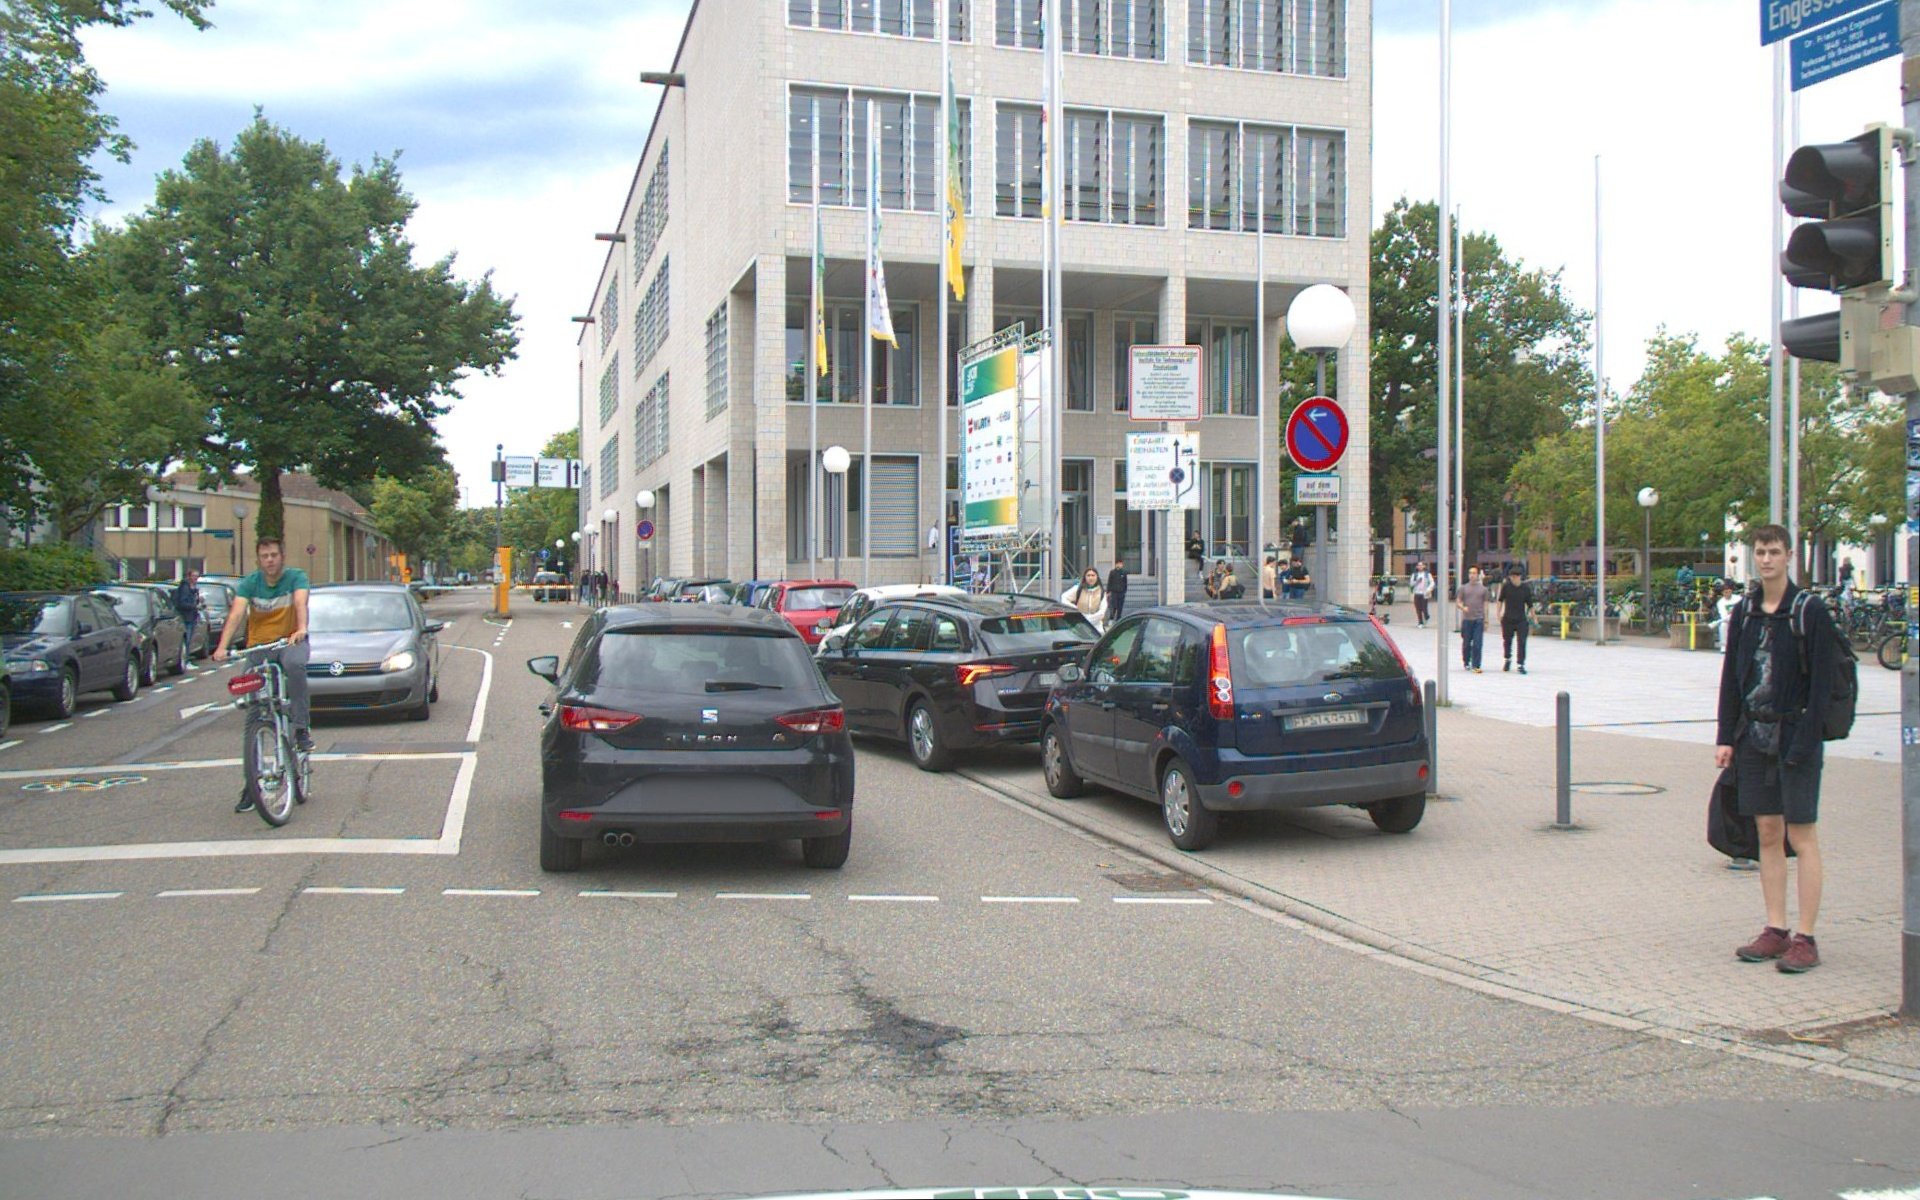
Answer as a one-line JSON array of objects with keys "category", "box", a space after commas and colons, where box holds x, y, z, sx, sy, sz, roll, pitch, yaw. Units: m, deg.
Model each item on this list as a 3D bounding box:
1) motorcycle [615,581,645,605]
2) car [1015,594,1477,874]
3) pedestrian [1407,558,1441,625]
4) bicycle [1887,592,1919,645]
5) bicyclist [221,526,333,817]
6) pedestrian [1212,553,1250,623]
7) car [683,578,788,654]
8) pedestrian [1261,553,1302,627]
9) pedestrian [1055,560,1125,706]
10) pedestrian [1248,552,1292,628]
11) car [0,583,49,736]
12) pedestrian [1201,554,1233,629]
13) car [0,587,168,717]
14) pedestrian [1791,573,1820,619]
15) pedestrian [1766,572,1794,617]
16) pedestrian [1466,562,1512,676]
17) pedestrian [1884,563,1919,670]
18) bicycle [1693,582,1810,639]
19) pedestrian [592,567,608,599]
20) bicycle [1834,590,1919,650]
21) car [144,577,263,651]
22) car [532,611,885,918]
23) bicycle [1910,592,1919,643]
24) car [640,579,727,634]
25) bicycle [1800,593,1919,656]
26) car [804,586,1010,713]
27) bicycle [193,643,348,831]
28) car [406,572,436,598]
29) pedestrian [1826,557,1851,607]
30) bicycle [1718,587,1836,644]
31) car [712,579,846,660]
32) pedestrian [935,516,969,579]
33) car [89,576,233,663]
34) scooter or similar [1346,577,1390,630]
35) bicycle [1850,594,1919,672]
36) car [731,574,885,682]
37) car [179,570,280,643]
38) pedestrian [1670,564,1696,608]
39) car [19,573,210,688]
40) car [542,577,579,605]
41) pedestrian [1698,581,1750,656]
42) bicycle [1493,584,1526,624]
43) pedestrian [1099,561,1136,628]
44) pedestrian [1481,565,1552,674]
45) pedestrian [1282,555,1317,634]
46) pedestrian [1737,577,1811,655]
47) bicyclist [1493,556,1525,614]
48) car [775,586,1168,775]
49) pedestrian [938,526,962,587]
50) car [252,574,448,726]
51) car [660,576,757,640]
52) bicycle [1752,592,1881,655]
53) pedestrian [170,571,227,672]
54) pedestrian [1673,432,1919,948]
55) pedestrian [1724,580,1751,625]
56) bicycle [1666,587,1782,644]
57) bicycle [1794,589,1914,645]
[{"category": "motorcycle", "box": [-18.249, -0.396, 91.519, 0.743, 1.168, 2.665, 2, 2, 9]}, {"category": "car", "box": [1.747, 0.748, 11.513, 1.595, 1.528, 4.089, -2, 1, -15]}, {"category": "pedestrian", "box": [11.917, -0.227, 42.434, 0.719, 1.669, 0.932, 3, 2, 19]}, {"category": "bicycle", "box": [22.585, 0.485, 37.573, 0.733, 1.190, 3.098, 1, 3, -13]}, {"category": "bicyclist", "box": [-4.478, 0.438, 10.859, 0.648, 1.811, 0.977, 0, 0, -23]}, {"category": "pedestrian", "box": [6.744, -0.297, 41.185, 0.764, 1.745, 0.601, 0, 0, -15]}, {"category": "car", "box": [-5.061, 0.314, 36.850, 1.817, 1.467, 4.403, 0, 2, -14]}, {"category": "pedestrian", "box": [8.011, -0.254, 41.256, 0.711, 1.816, 0.730, 0, 0, -29]}, {"category": "pedestrian", "box": [1.651, 0.409, 21.085, 0.775, 1.819, 0.821, 0, 0, -4]}, {"category": "pedestrian", "box": [7.475, -0.239, 39.902, 0.753, 1.816, 0.730, 0, 0, -29]}, {"category": "car", "box": [-10.102, 0.584, 15.415, 1.767, 1.495, 4.233, 0, 0, -14]}, {"category": "pedestrian", "box": [6.530, -0.209, 42.063, 0.581, 1.873, 0.618, 1, 0, -15]}, {"category": "car", "box": [-11.212, 0.553, 20.219, 1.766, 1.432, 4.324, 0, 0, -12]}, {"category": "pedestrian", "box": [30.926, -0.141, 60.504, 0.650, 1.669, 0.663, 0, 0, -18]}, {"category": "pedestrian", "box": [30.531, -0.204, 61.579, 0.650, 1.669, 0.691, 0, 0, -18]}, {"category": "pedestrian", "box": [8.767, 0.302, 27.414, 0.628, 1.839, 0.648, 3, 2, 18]}, {"category": "pedestrian", "box": [16.225, 0.293, 27.742, 0.837, 1.734, 0.963, 4, -4, -20]}, {"category": "bicycle", "box": [19.215, 0.226, 40.262, 0.733, 1.190, 3.098, 1, 2, -14]}, {"category": "pedestrian", "box": [-19.996, -0.962, 91.892, 0.717, 1.728, 0.584, 1, 2, -21]}, {"category": "bicycle", "box": [21.125, 0.449, 37.147, 0.733, 1.190, 3.098, 1, 3, -14]}, {"category": "car", "box": [-15.824, 0.255, 34.750, 1.735, 1.436, 3.990, 0, 1, -17]}, {"category": "car", "box": [-1.779, 0.843, 10.469, 1.753, 1.444, 4.113, 1, 1, -15]}, {"category": "bicycle", "box": [23.308, 0.500, 37.845, 0.733, 1.190, 3.098, 1, 3, -14]}, {"category": "car", "box": [-7.930, 0.159, 47.138, 1.961, 1.477, 4.902, 0, 0, -15]}, {"category": "bicycle", "box": [20.237, 0.525, 36.970, 0.733, 1.190, 3.098, 1, 3, -14]}, {"category": "car", "box": [-0.787, 0.565, 21.514, 1.830, 1.478, 3.842, 0, 1, -16]}, {"category": "bicycle", "box": [-4.479, 0.846, 10.854, 0.646, 1.056, 1.851, 0, 0, -13]}, {"category": "car", "box": [-35.268, -0.974, 108.203, 1.742, 1.629, 3.982, 1, 1, -17]}, {"category": "pedestrian", "box": [29.559, -0.602, 55.621, 0.649, 1.669, 0.663, -1, 0, 36]}, {"category": "bicycle", "box": [19.950, 0.357, 40.487, 0.733, 1.190, 3.098, 1, 3, -14]}, {"category": "car", "box": [-3.561, 0.336, 31.915, 1.669, 1.436, 4.353, -1, 0, -19]}, {"category": "pedestrian", "box": [-0.214, -1.438, 45.460, 0.787, 1.687, 0.632, 2, 2, 9]}, {"category": "car", "box": [-14.651, 0.312, 30.511, 1.733, 1.497, 3.808, 0, 0, -16]}, {"category": "scooter or similar", "box": [11.137, 0.087, 45.145, 1.480, 1.393, 0.399, 0, 3, -44]}, {"category": "bicycle", "box": [15.694, 0.564, 26.912, 0.449, 1.190, 2.401, 1, 3, -20]}, {"category": "car", "box": [-2.498, 0.368, 26.350, 1.684, 1.499, 4.256, -2, 2, -16]}, {"category": "car", "box": [-17.382, 0.124, 39.502, 1.688, 1.613, 3.861, 1, 1, -16]}, {"category": "pedestrian", "box": [27.759, -0.547, 63.522, 0.650, 1.669, 0.663, 0, 0, -18]}, {"category": "car", "box": [-13.008, 0.388, 25.719, 1.768, 1.588, 4.511, 0, 1, -16]}, {"category": "car", "box": [-23.960, -0.523, 99.053, 1.961, 1.651, 4.408, -1, 0, -16]}, {"category": "pedestrian", "box": [14.929, 0.360, 32.310, 0.756, 1.438, 0.669, 0, 0, 43]}, {"category": "bicycle", "box": [15.948, 0.100, 48.067, 0.855, 1.112, 1.802, 1, 1, 17]}, {"category": "pedestrian", "box": [4.023, -0.142, 42.294, 0.743, 1.699, 0.702, 0, 0, -15]}, {"category": "pedestrian", "box": [9.238, 0.306, 27.453, 0.894, 1.742, 0.689, 3, 4, 44]}, {"category": "pedestrian", "box": [8.268, -0.137, 40.256, 0.591, 1.897, 0.777, -1, 0, 33]}, {"category": "pedestrian", "box": [15.475, 0.290, 31.458, 0.839, 1.445, 0.960, 0, 0, -27]}, {"category": "bicyclist", "box": [15.948, -0.432, 48.056, 0.855, 1.669, 0.868, 1, 1, 17]}, {"category": "car", "box": [-0.067, 0.627, 15.755, 1.840, 1.426, 4.437, -3, 2, -28]}, {"category": "pedestrian", "box": [-0.272, -1.229, 46.393, 0.616, 1.687, 0.807, 2, 2, 0]}, {"category": "car", "box": [-6.814, 0.483, 18.829, 1.754, 1.523, 4.150, 0, 0, -16]}, {"category": "car", "box": [-6.370, 0.147, 41.540, 1.789, 1.468, 4.500, -1, 1, -17]}, {"category": "bicycle", "box": [18.870, 0.493, 36.534, 0.609, 1.190, 3.098, 1, 3, -14]}, {"category": "pedestrian", "box": [-13.137, 0.348, 28.549, 0.726, 1.690, 0.964, -1, 2, -16]}, {"category": "pedestrian", "box": [3.439, 0.343, 6.785, 0.774, 1.986, 0.758, 0, 0, 8]}, {"category": "pedestrian", "box": [28.932, 0.085, 61.540, 0.650, 1.669, 0.663, 0, 0, -19]}, {"category": "bicycle", "box": [18.461, 0.354, 40.072, 0.733, 1.190, 3.098, 1, 3, -14]}, {"category": "bicycle", "box": [22.388, 0.403, 41.524, 0.733, 1.190, 3.098, 1, 3, -14]}]
